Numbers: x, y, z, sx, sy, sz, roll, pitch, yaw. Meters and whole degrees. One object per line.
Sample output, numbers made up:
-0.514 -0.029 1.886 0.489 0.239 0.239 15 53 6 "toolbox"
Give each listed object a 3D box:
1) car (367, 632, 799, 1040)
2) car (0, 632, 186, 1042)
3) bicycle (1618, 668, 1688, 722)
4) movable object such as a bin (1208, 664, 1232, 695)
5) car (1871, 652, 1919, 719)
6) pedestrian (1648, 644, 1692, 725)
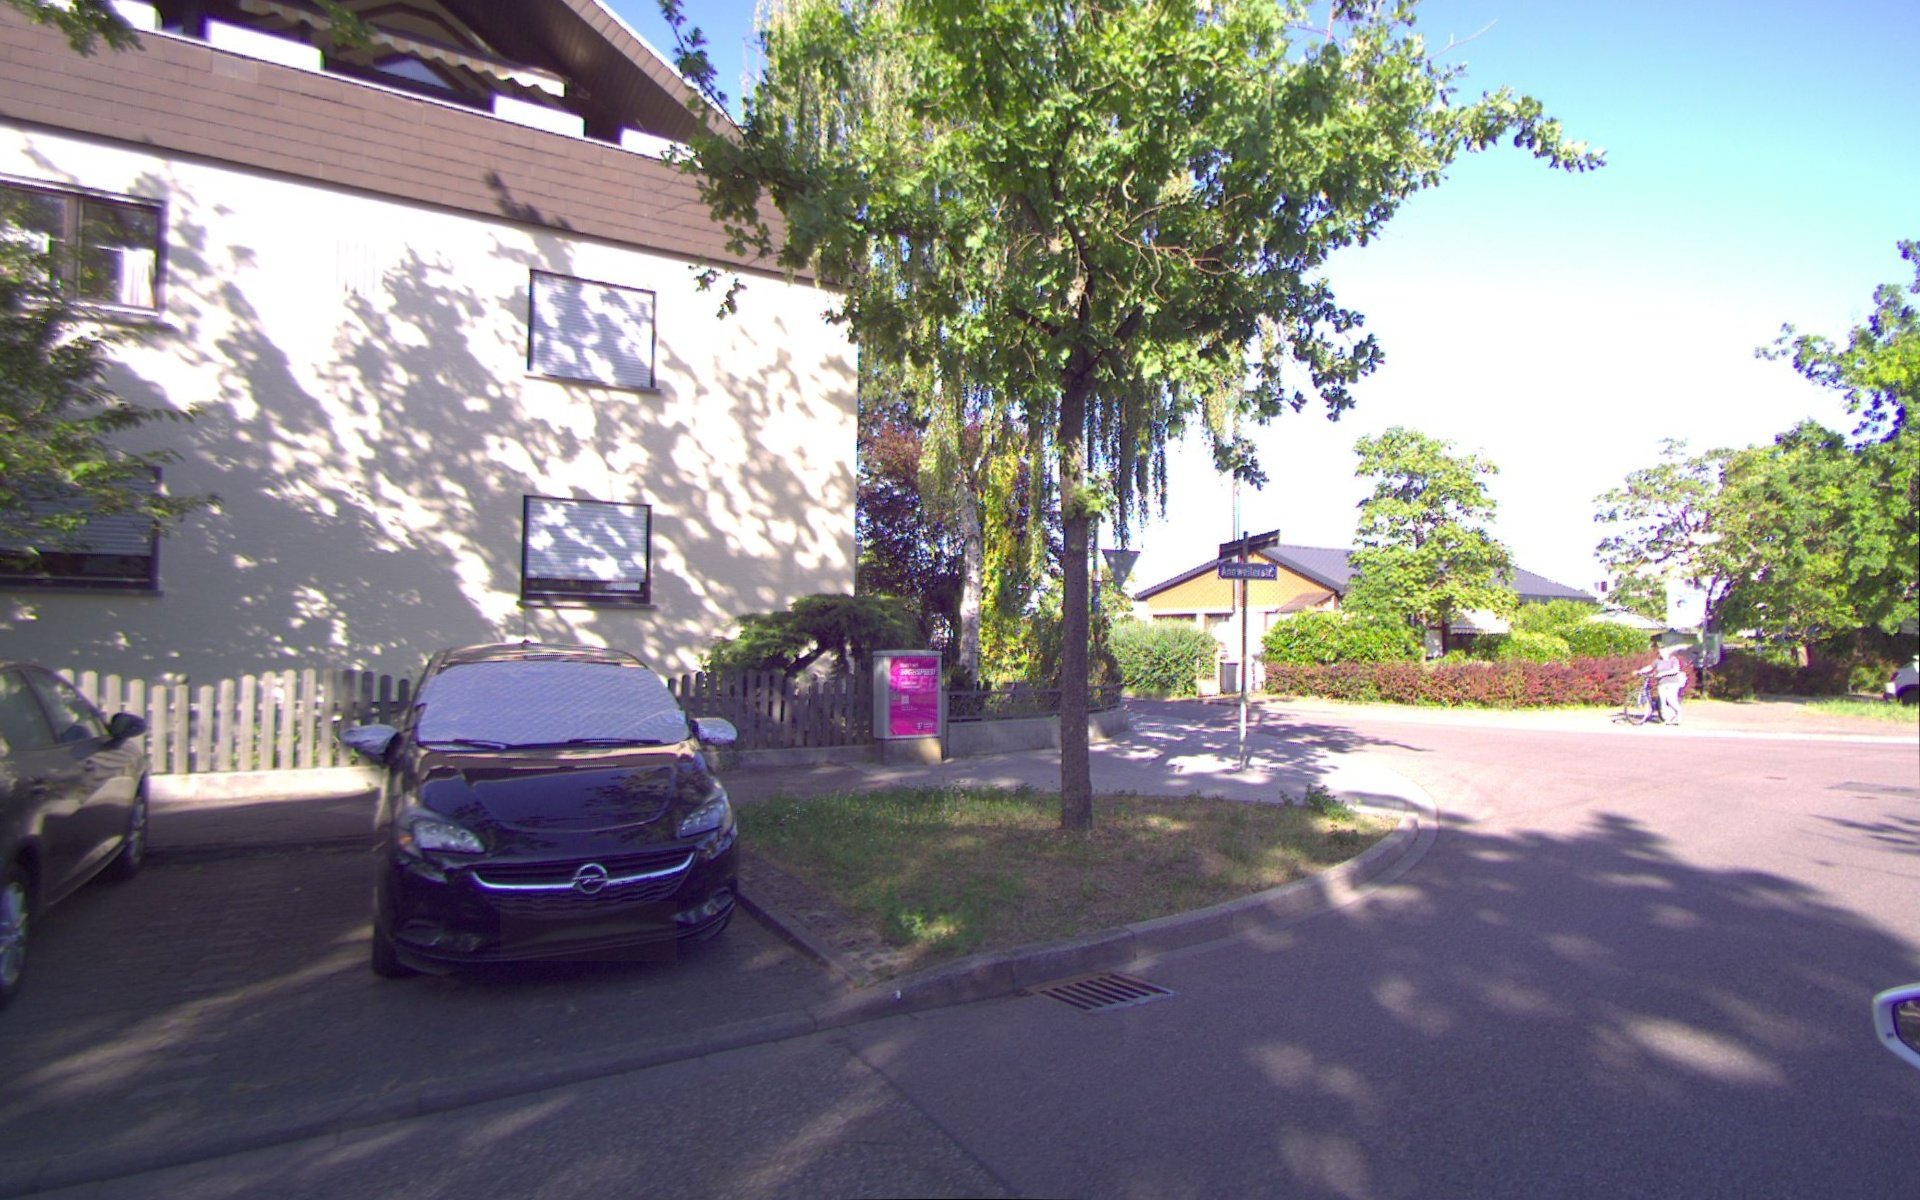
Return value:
-2.388 0.975 5.944 1.692 1.478 3.842 2 -1 -28 "car"
-5.163 0.914 4.802 1.751 1.438 3.801 2 -1 -30 "car"
14.310 1.953 20.731 1.871 1.053 0.445 3 -3 -31 "bicycle"
8.181 2.498 31.635 0.492 0.948 0.612 1 -2 -18 "movable object such as a bin"
25.344 2.161 24.571 1.876 1.644 4.219 3 -3 -32 "car"
14.278 1.690 20.192 0.791 1.577 0.439 3 -3 -30 "pedestrian"
